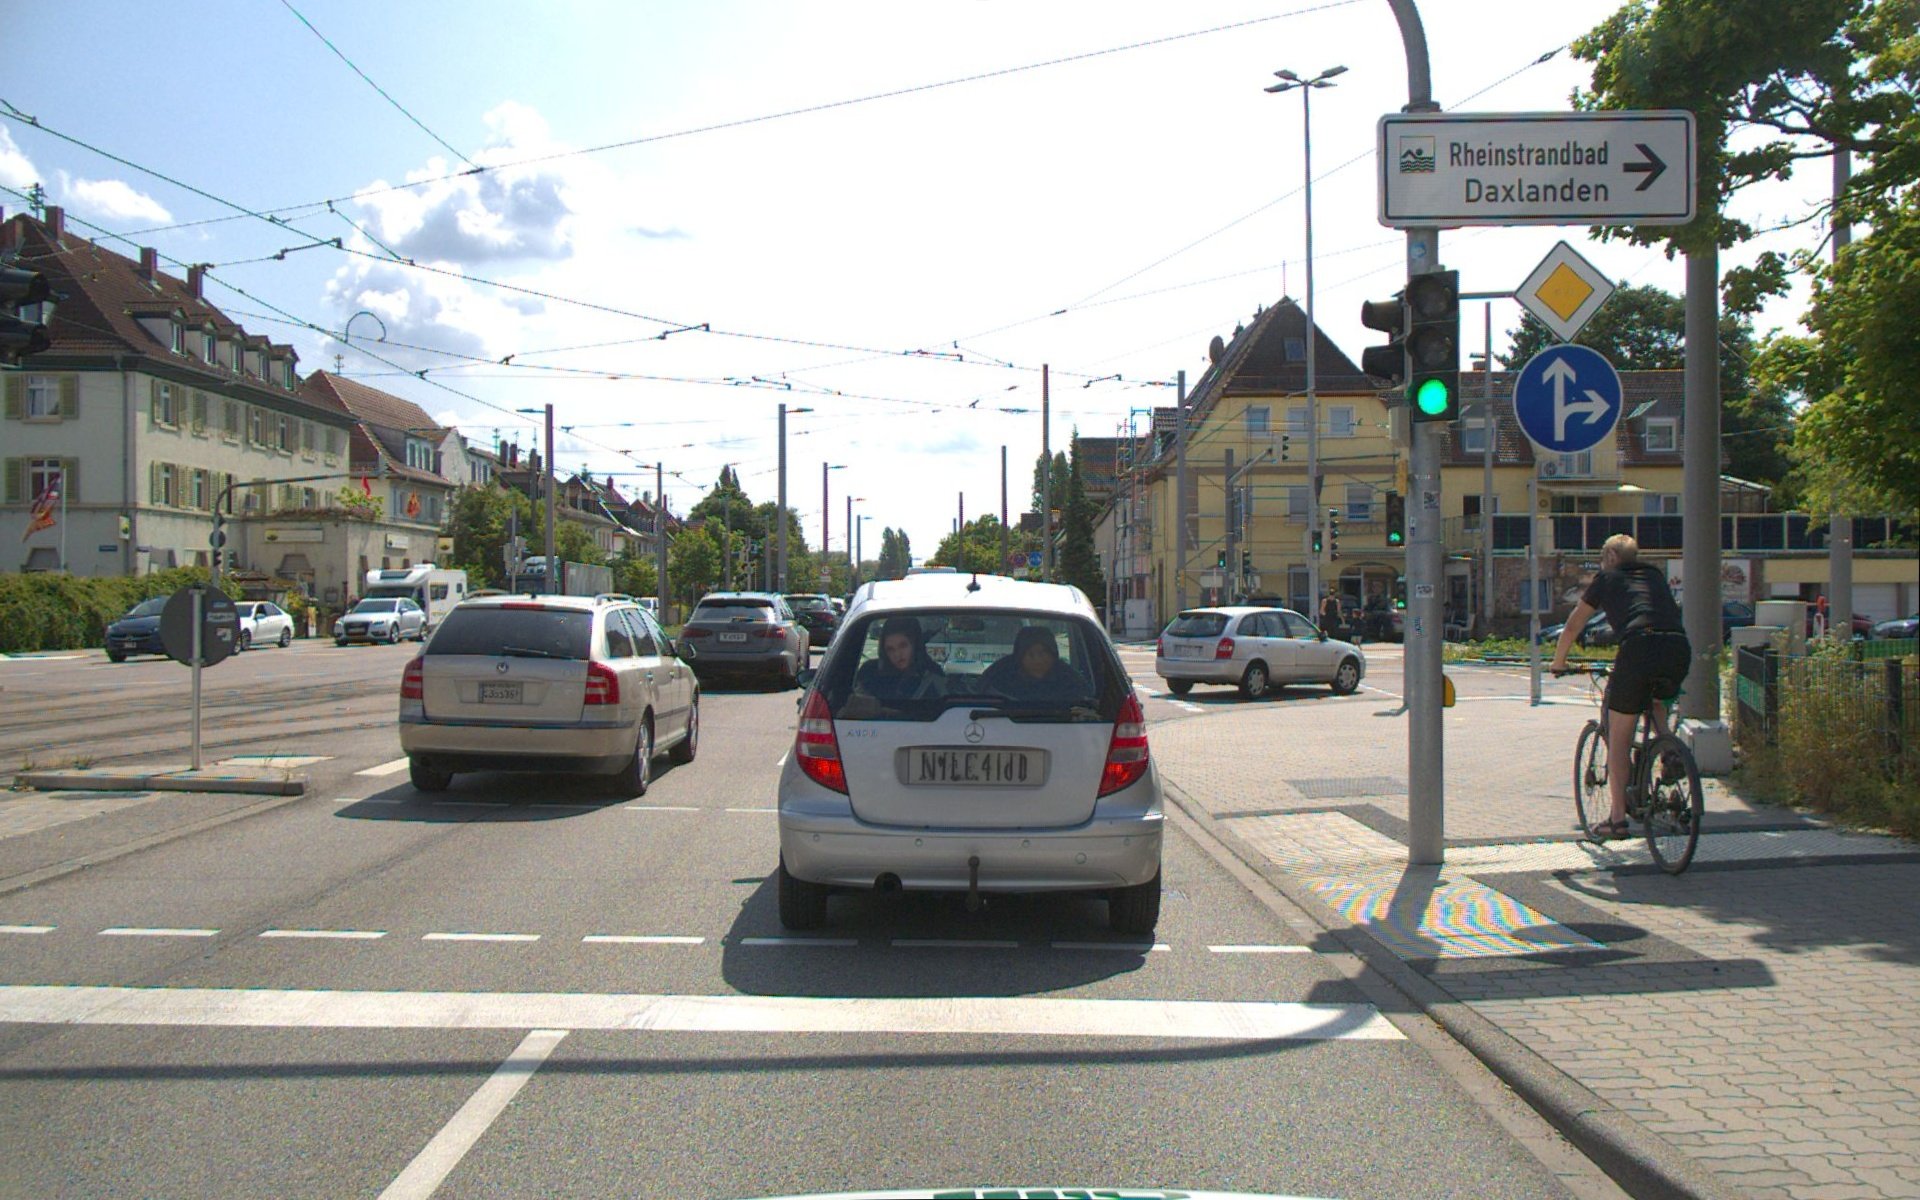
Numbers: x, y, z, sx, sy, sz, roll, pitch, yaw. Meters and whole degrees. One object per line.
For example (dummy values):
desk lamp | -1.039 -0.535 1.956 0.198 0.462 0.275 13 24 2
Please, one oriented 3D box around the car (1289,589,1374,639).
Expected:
car | 12.914 0.501 57.741 1.953 1.624 4.130 1 -1 -1

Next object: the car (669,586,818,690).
car | -3.406 0.576 26.828 1.878 1.503 4.560 1 0 -1

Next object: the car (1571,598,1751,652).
car | 19.224 0.677 45.443 4.231 1.352 1.738 -1 -1 -5

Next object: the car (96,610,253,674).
car | -18.077 0.936 38.273 1.650 1.375 4.177 1 -1 -1

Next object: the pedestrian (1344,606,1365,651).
pedestrian | 10.179 0.737 42.643 0.477 1.156 0.389 1 -1 7

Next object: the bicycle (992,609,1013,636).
bicycle | 1.834 0.971 71.589 0.638 1.137 1.585 1 -1 -8

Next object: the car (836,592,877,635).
car | -4.686 0.622 75.330 1.815 1.875 3.916 1 -1 -3

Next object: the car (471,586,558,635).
car | -17.469 0.394 65.132 1.952 1.807 4.879 -2 0 1

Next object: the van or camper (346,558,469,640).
van or camper | -21.381 -0.028 64.412 2.277 2.981 7.753 0 0 -1

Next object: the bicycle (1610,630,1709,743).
bicycle | 6.838 0.820 16.128 0.454 1.036 1.748 0 -1 38

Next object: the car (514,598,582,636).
car | -18.491 0.764 74.410 1.953 1.579 4.177 -4 -1 -1

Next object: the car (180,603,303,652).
car | -21.377 0.810 49.368 1.649 1.375 4.345 1 -1 1

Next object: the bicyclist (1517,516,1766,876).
bicyclist | 3.692 0.488 9.049 0.812 1.825 1.083 -2 0 -6

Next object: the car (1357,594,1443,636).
car | 15.302 0.529 57.718 1.830 1.375 4.130 1 -1 -1

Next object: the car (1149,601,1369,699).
car | 4.987 0.765 27.280 1.705 1.428 3.992 3 2 42

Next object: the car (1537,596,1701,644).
car | 19.647 0.590 49.417 4.230 1.331 1.738 1 -1 -5

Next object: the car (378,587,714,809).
car | -3.114 0.674 13.288 1.696 1.474 4.122 1 0 -1

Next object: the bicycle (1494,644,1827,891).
bicycle | 3.706 0.834 8.974 0.812 1.094 1.969 -2 0 -5

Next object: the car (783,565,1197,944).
car | 0.014 0.667 8.861 1.695 1.543 4.013 1 -1 -3

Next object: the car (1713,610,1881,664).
car | 25.174 1.112 49.800 4.230 1.499 1.738 1 -1 -5

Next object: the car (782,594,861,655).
car | -3.433 0.610 41.651 1.815 1.413 4.511 1 -1 -3

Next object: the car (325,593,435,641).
car | -17.898 0.537 51.217 1.953 1.375 4.177 1 -1 -1

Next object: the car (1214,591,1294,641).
car | 10.138 0.567 57.340 1.953 1.624 4.130 1 -1 -1

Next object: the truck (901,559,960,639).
truck | -1.077 -0.003 57.203 1.815 2.597 5.851 1 -1 -3

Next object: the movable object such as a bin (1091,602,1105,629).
movable object such as a bin | 5.688 0.635 68.008 0.501 1.124 0.855 0 -1 -1

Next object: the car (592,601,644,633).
car | -18.325 0.907 88.732 1.757 1.665 4.471 -1 -1 1

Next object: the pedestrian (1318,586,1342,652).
pedestrian | 9.558 0.487 42.730 0.535 1.672 0.401 1 -1 3

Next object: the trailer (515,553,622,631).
trailer | -21.467 -0.478 91.592 2.545 3.887 12.838 -3 1 1

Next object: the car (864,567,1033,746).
car | -0.202 0.600 18.893 1.695 1.793 4.014 1 -1 -3

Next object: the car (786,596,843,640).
car | -4.988 0.614 57.103 1.815 1.413 3.916 1 -1 -3

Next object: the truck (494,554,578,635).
truck | -21.608 -0.314 84.581 2.545 3.887 5.668 -3 1 1
